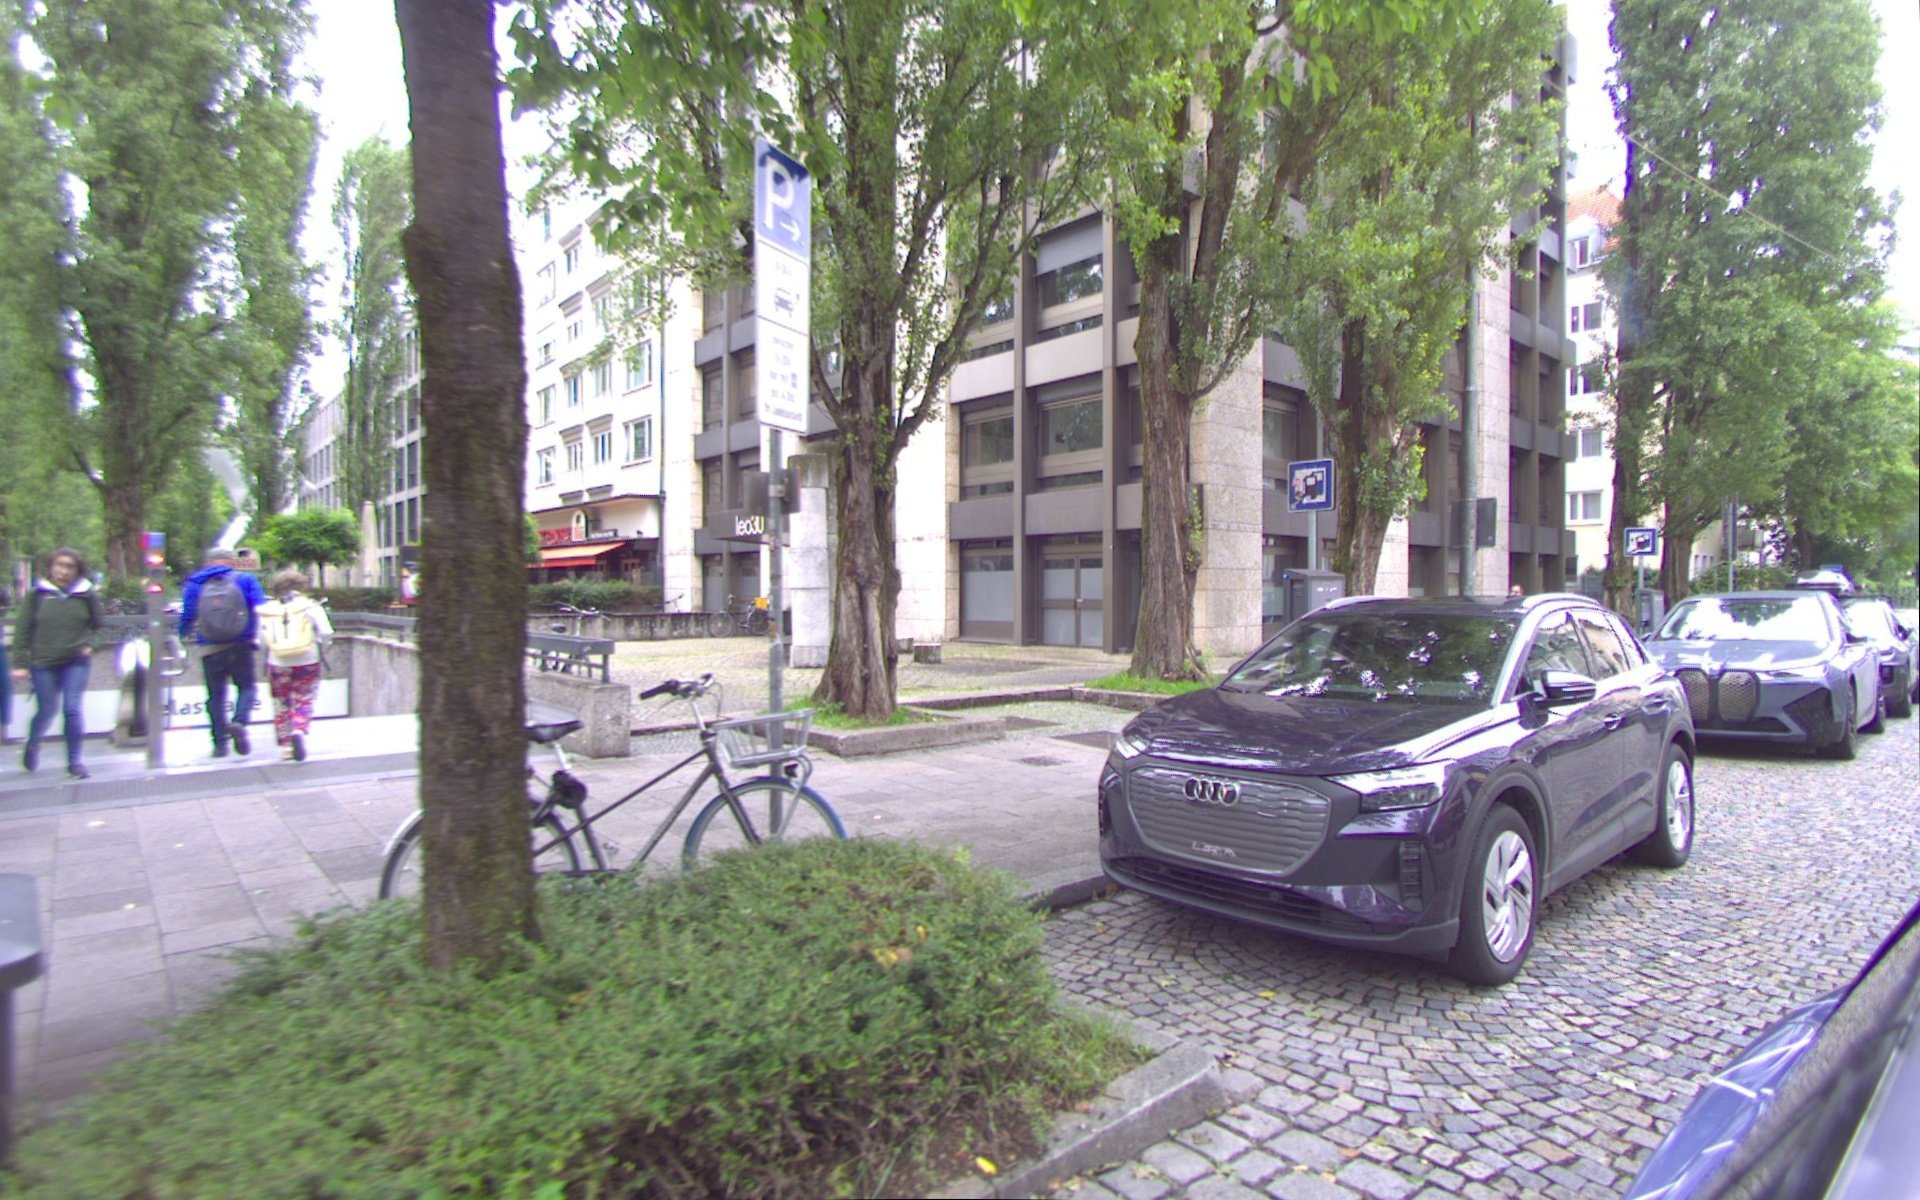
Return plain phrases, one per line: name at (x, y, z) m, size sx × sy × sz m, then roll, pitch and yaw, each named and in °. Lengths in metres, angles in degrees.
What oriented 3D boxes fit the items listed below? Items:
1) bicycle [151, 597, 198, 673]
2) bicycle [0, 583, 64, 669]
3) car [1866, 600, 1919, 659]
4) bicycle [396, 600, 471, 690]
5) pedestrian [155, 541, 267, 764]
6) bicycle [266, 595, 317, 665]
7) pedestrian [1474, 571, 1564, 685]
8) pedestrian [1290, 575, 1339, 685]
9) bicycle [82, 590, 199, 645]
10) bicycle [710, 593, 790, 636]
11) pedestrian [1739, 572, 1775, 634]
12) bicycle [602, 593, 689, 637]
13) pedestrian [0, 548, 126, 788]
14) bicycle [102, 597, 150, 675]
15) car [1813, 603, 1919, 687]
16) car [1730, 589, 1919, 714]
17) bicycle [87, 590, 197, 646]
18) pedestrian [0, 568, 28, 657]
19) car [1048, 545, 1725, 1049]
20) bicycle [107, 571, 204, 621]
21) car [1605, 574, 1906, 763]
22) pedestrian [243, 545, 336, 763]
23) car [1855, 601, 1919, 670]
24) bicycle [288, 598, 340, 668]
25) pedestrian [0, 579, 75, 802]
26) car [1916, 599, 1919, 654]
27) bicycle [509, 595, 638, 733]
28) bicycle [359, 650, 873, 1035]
bicycle at (-12.974, 0.548, 16.703) m, size 0.577 × 1.174 × 1.867 m, roll 0°, pitch 0°, yaw -39°
bicycle at (-13.654, 0.351, 14.916) m, size 0.577 × 1.174 × 1.982 m, roll 0°, pitch 0°, yaw -39°
car at (24.810, 0.721, 25.903) m, size 3.807 × 1.405 × 1.996 m, roll -1°, pitch -1°, yaw -42°
bicycle at (-7.452, 0.598, 14.292) m, size 0.577 × 1.174 × 1.867 m, roll 0°, pitch 0°, yaw -39°
pedestrian at (-6.126, 0.400, 8.315) m, size 0.651 × 1.718 × 0.807 m, roll 0°, pitch 0°, yaw -31°
bicycle at (-11.831, 0.502, 17.881) m, size 0.577 × 1.174 × 1.867 m, roll 0°, pitch 0°, yaw -39°
pedestrian at (8.792, 0.419, 15.935) m, size 0.893 × 1.735 × 0.871 m, roll 0°, pitch 0°, yaw -22°
pedestrian at (5.430, 0.440, 15.507) m, size 0.558 × 1.649 × 0.489 m, roll 0°, pitch 0°, yaw -38°
bicycle at (-18.130, 0.370, 22.436) m, size 1.995 × 1.174 × 0.587 m, roll 0°, pitch 0°, yaw -39°
bicycle at (-5.940, 0.383, 28.718) m, size 2.207 × 1.170 × 0.647 m, roll 0°, pitch 0°, yaw -41°
pedestrian at (20.392, 0.070, 25.896) m, size 0.697 × 1.556 × 0.644 m, roll 0°, pitch 0°, yaw -44°
bicycle at (-8.650, 0.391, 27.891) m, size 2.207 × 1.170 × 0.647 m, roll 0°, pitch 0°, yaw -41°
pedestrian at (-6.869, 0.485, 7.694) m, size 0.650 × 1.722 × 0.692 m, roll 0°, pitch 0°, yaw -25°
bicycle at (-13.432, 0.552, 16.316) m, size 0.577 × 1.174 × 1.867 m, roll 0°, pitch 0°, yaw -39°
car at (17.871, 0.809, 19.389) m, size 4.133 × 1.408 × 1.721 m, roll -1°, pitch -2°, yaw -42°
car at (13.275, 0.653, 15.230) m, size 4.269 × 1.603 × 1.996 m, roll 0°, pitch 0°, yaw -43°
bicycle at (-17.710, 0.369, 21.967) m, size 1.835 × 1.174 × 0.587 m, roll 0°, pitch 0°, yaw -39°
pedestrian at (-20.885, 0.260, 21.909) m, size 0.902 × 1.890 × 1.014 m, roll 0°, pitch 0°, yaw -36°
car at (2.586, 0.661, 5.585) m, size 4.130 × 1.722 × 1.922 m, roll 0°, pitch 0°, yaw -43°
bicycle at (-19.496, -0.102, 24.564) m, size 1.835 × 1.174 × 0.587 m, roll 0°, pitch 0°, yaw -39°
car at (9.201, 0.611, 11.551) m, size 4.594 × 1.722 × 2.015 m, roll 0°, pitch 0°, yaw -43°
pedestrian at (-5.529, 0.415, 8.386) m, size 0.598 × 1.701 × 0.846 m, roll 0°, pitch 0°, yaw -31°
car at (21.328, 0.750, 22.603) m, size 3.501 × 1.449 × 1.602 m, roll 0°, pitch -2°, yaw -42°
bicycle at (-11.494, 0.550, 17.989) m, size 0.577 × 1.174 × 1.867 m, roll 0°, pitch 0°, yaw -39°
pedestrian at (-6.570, 0.576, 6.763) m, size 0.801 × 1.437 × 0.772 m, roll 0°, pitch 0°, yaw -25°
car at (28.876, 0.715, 29.067) m, size 3.810 × 1.518 × 1.864 m, roll -1°, pitch -1°, yaw -44°
bicycle at (-4.048, 0.598, 10.510) m, size 0.709 × 1.292 × 1.867 m, roll 0°, pitch 0°, yaw -39°
bicycle at (-1.264, 0.811, 3.938) m, size 1.840 × 1.151 × 0.476 m, roll 0°, pitch 0°, yaw -32°
